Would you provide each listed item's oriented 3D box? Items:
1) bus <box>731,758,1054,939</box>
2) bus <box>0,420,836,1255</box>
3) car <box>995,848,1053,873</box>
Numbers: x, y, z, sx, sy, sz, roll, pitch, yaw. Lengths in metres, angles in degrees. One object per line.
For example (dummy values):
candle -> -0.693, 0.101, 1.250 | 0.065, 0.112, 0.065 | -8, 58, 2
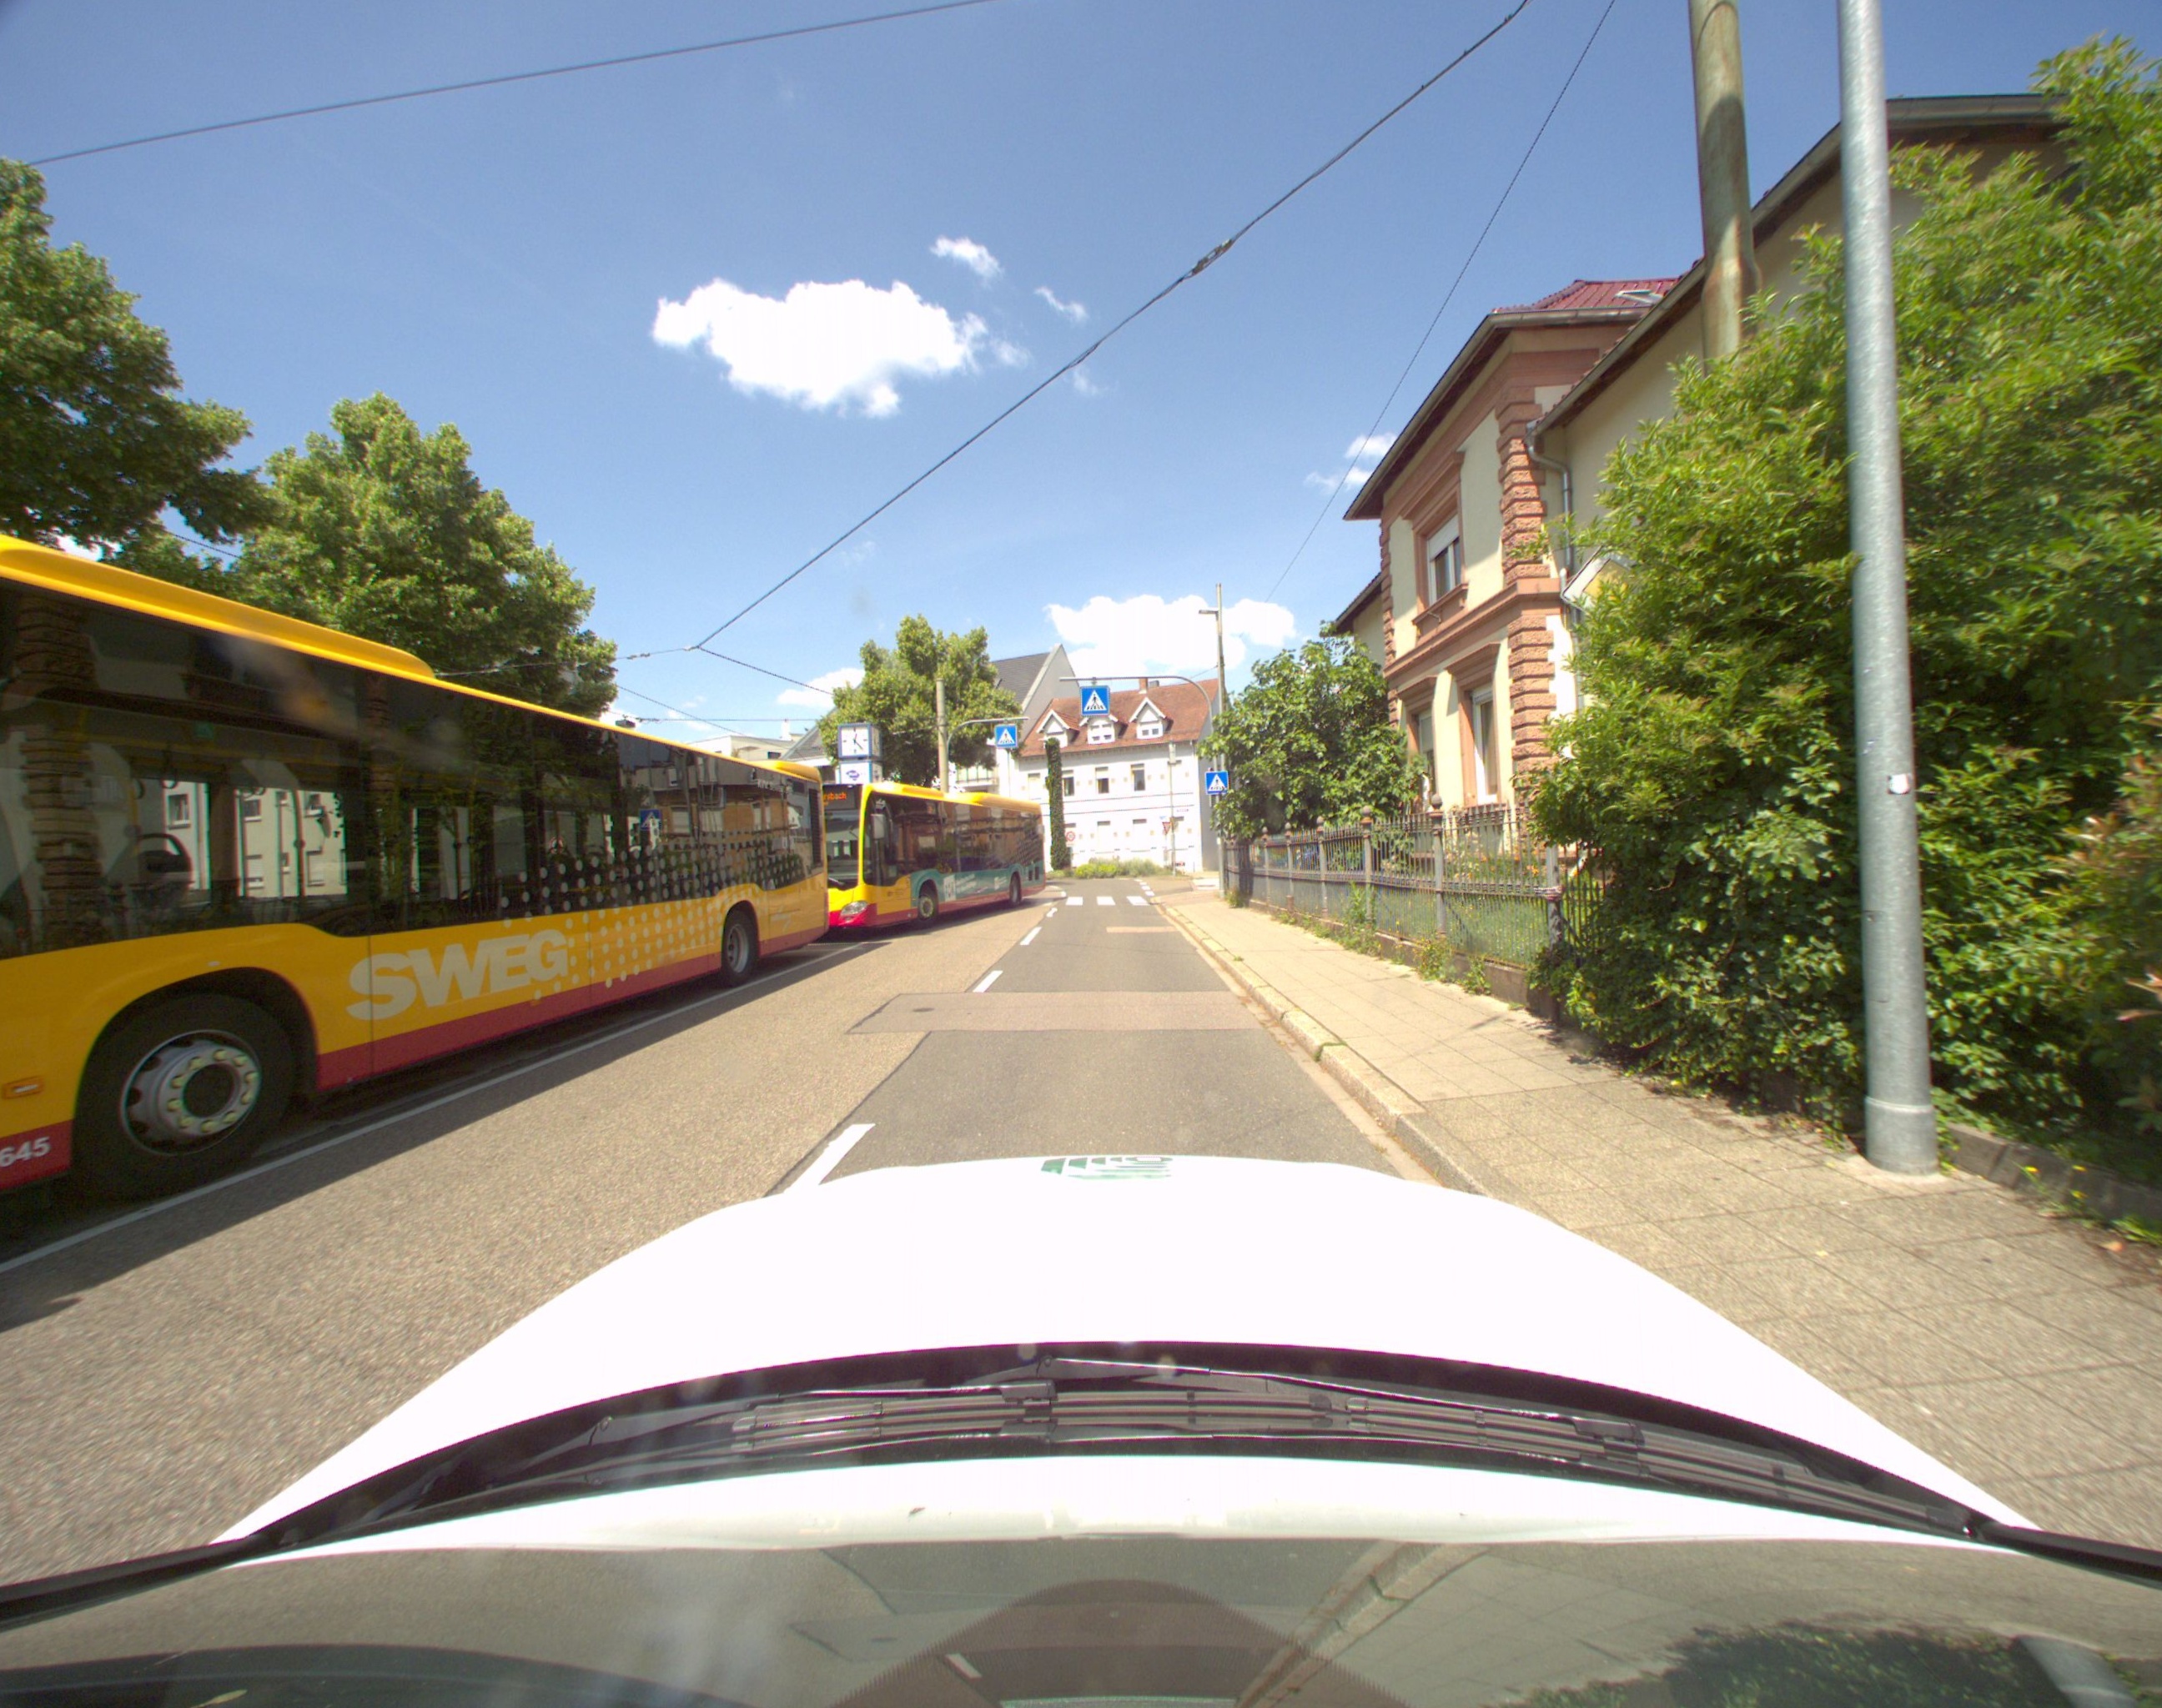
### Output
bus -> -3.675, -0.152, 20.729 | 2.760, 3.208, 12.351 | -1, 0, 13
bus -> -5.559, -0.009, 7.124 | 2.897, 3.248, 12.120 | 0, -1, 1
car -> -3.777, 0.463, 54.026 | 3.571, 1.587, 1.594 | -1, -2, 33
